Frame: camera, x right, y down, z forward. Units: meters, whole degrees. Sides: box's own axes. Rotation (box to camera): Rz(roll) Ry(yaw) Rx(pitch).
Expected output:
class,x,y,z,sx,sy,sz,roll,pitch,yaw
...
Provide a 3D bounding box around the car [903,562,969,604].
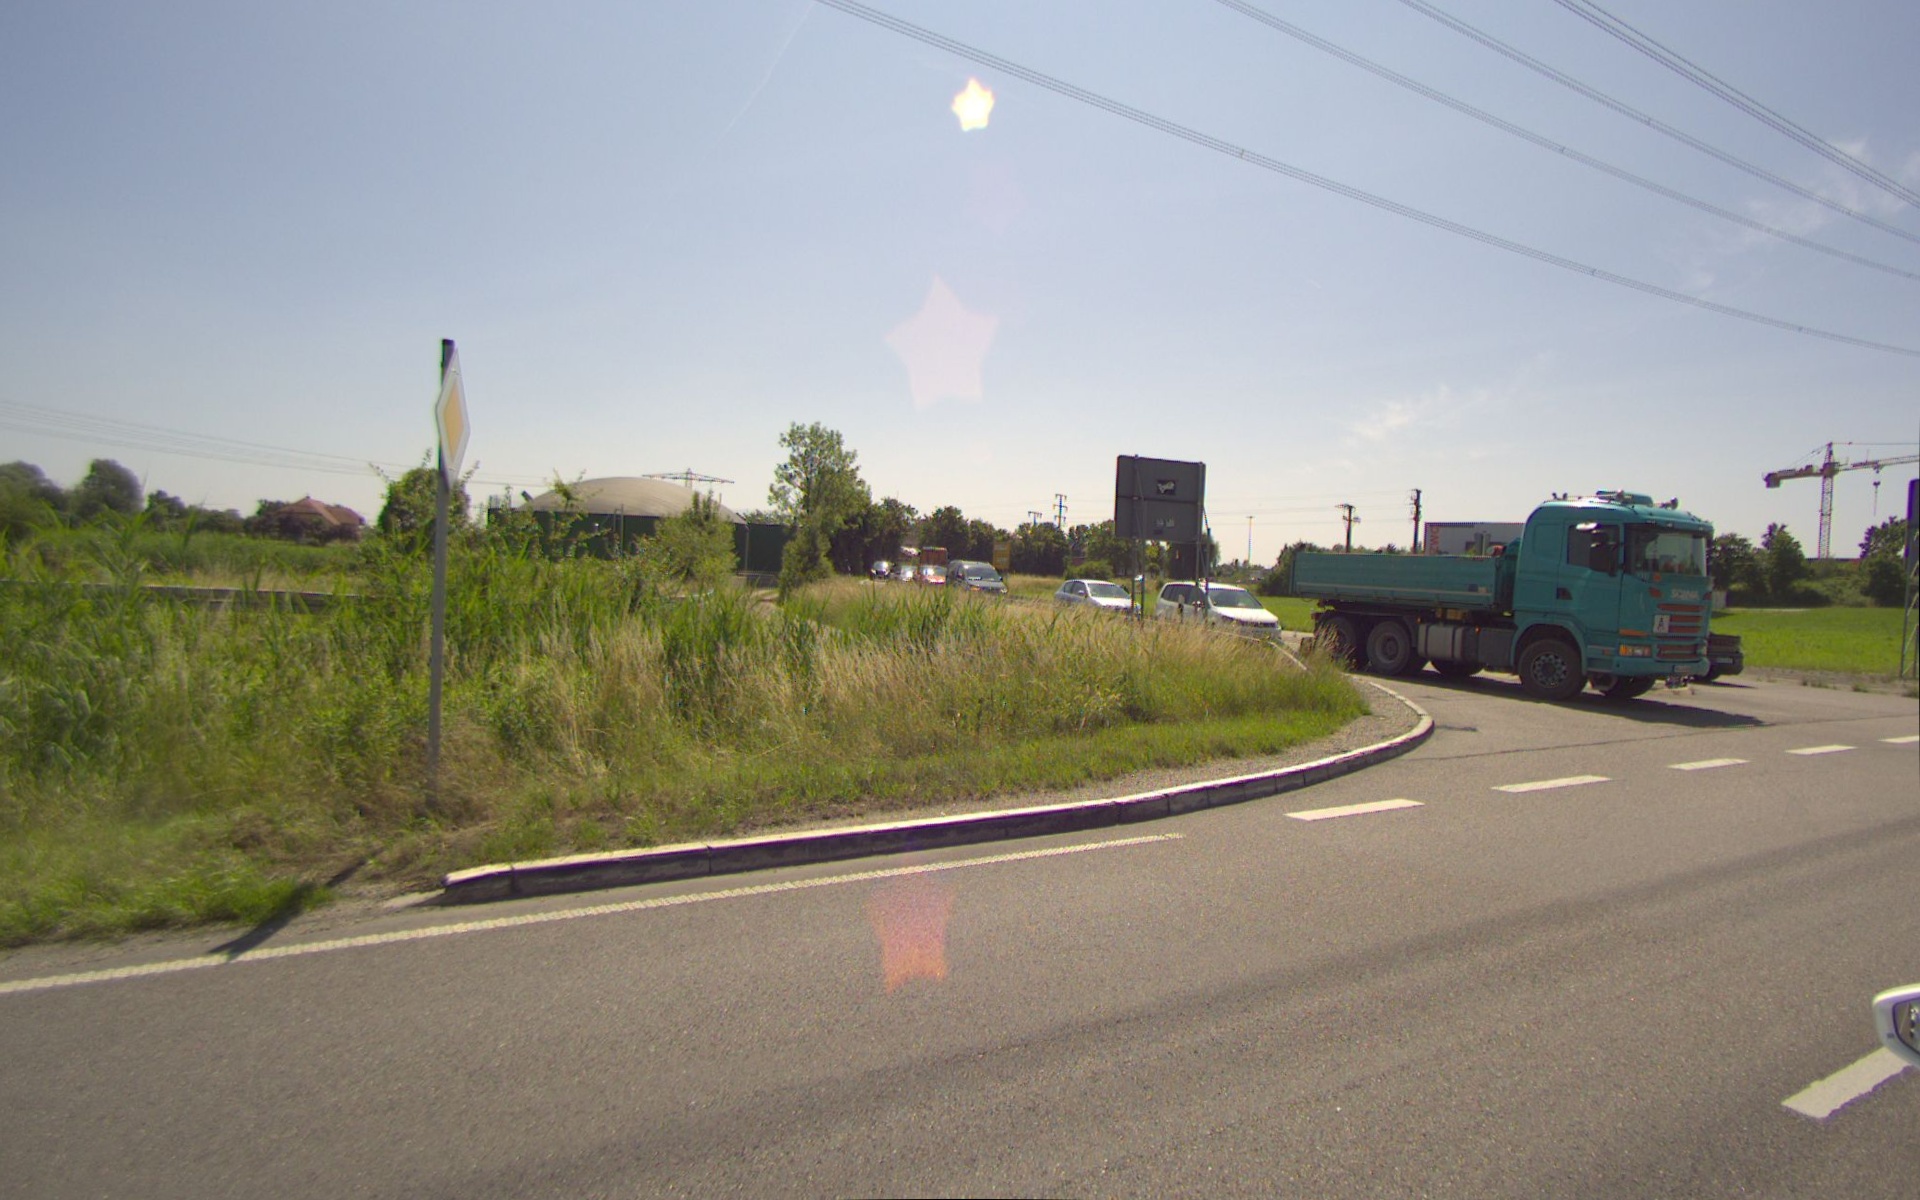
class,x,y,z,sx,sy,sz,roll,pitch,yaw
car,-1.223,-0.866,48.731,1.886,1.874,4.463,2,2,-19

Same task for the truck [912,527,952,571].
class,x,y,z,sx,sy,sz,roll,pitch,yaw
truck,-2.349,-4.322,86.595,2.773,3.332,9.702,1,1,2

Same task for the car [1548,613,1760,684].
class,x,y,z,sx,sy,sz,roll,pitch,yaw
car,16.962,1.127,24.892,1.826,1.415,4.651,3,1,-3

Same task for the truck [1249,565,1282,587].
class,x,y,z,sx,sy,sz,roll,pitch,yaw
truck,71.263,-5.491,234.126,3.628,4.708,13.201,3,1,34

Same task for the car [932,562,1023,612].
class,x,y,z,sx,sy,sz,roll,pitch,yaw
car,0.649,-0.592,42.263,2.057,1.893,4.926,1,2,-22

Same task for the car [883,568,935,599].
class,x,y,z,sx,sy,sz,roll,pitch,yaw
car,-2.792,-0.925,54.462,1.754,1.498,3.982,2,2,-19

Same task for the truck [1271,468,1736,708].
class,x,y,z,sx,sy,sz,roll,pitch,yaw
truck,10.044,-0.362,19.836,2.467,3.785,7.872,2,2,-27

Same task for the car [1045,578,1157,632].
class,x,y,z,sx,sy,sz,roll,pitch,yaw
car,4.406,0.112,32.101,1.692,1.490,4.426,2,1,-19

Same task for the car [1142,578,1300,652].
class,x,y,z,sx,sy,sz,roll,pitch,yaw
car,6.691,0.324,26.340,1.936,1.634,4.540,2,2,-16

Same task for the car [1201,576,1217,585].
class,x,y,z,sx,sy,sz,roll,pitch,yaw
car,49.430,-3.859,199.412,1.966,1.701,3.990,2,1,33

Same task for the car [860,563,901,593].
class,x,y,z,sx,sy,sz,roll,pitch,yaw
car,-4.850,-1.295,60.892,1.965,1.691,3.990,2,0,-12
